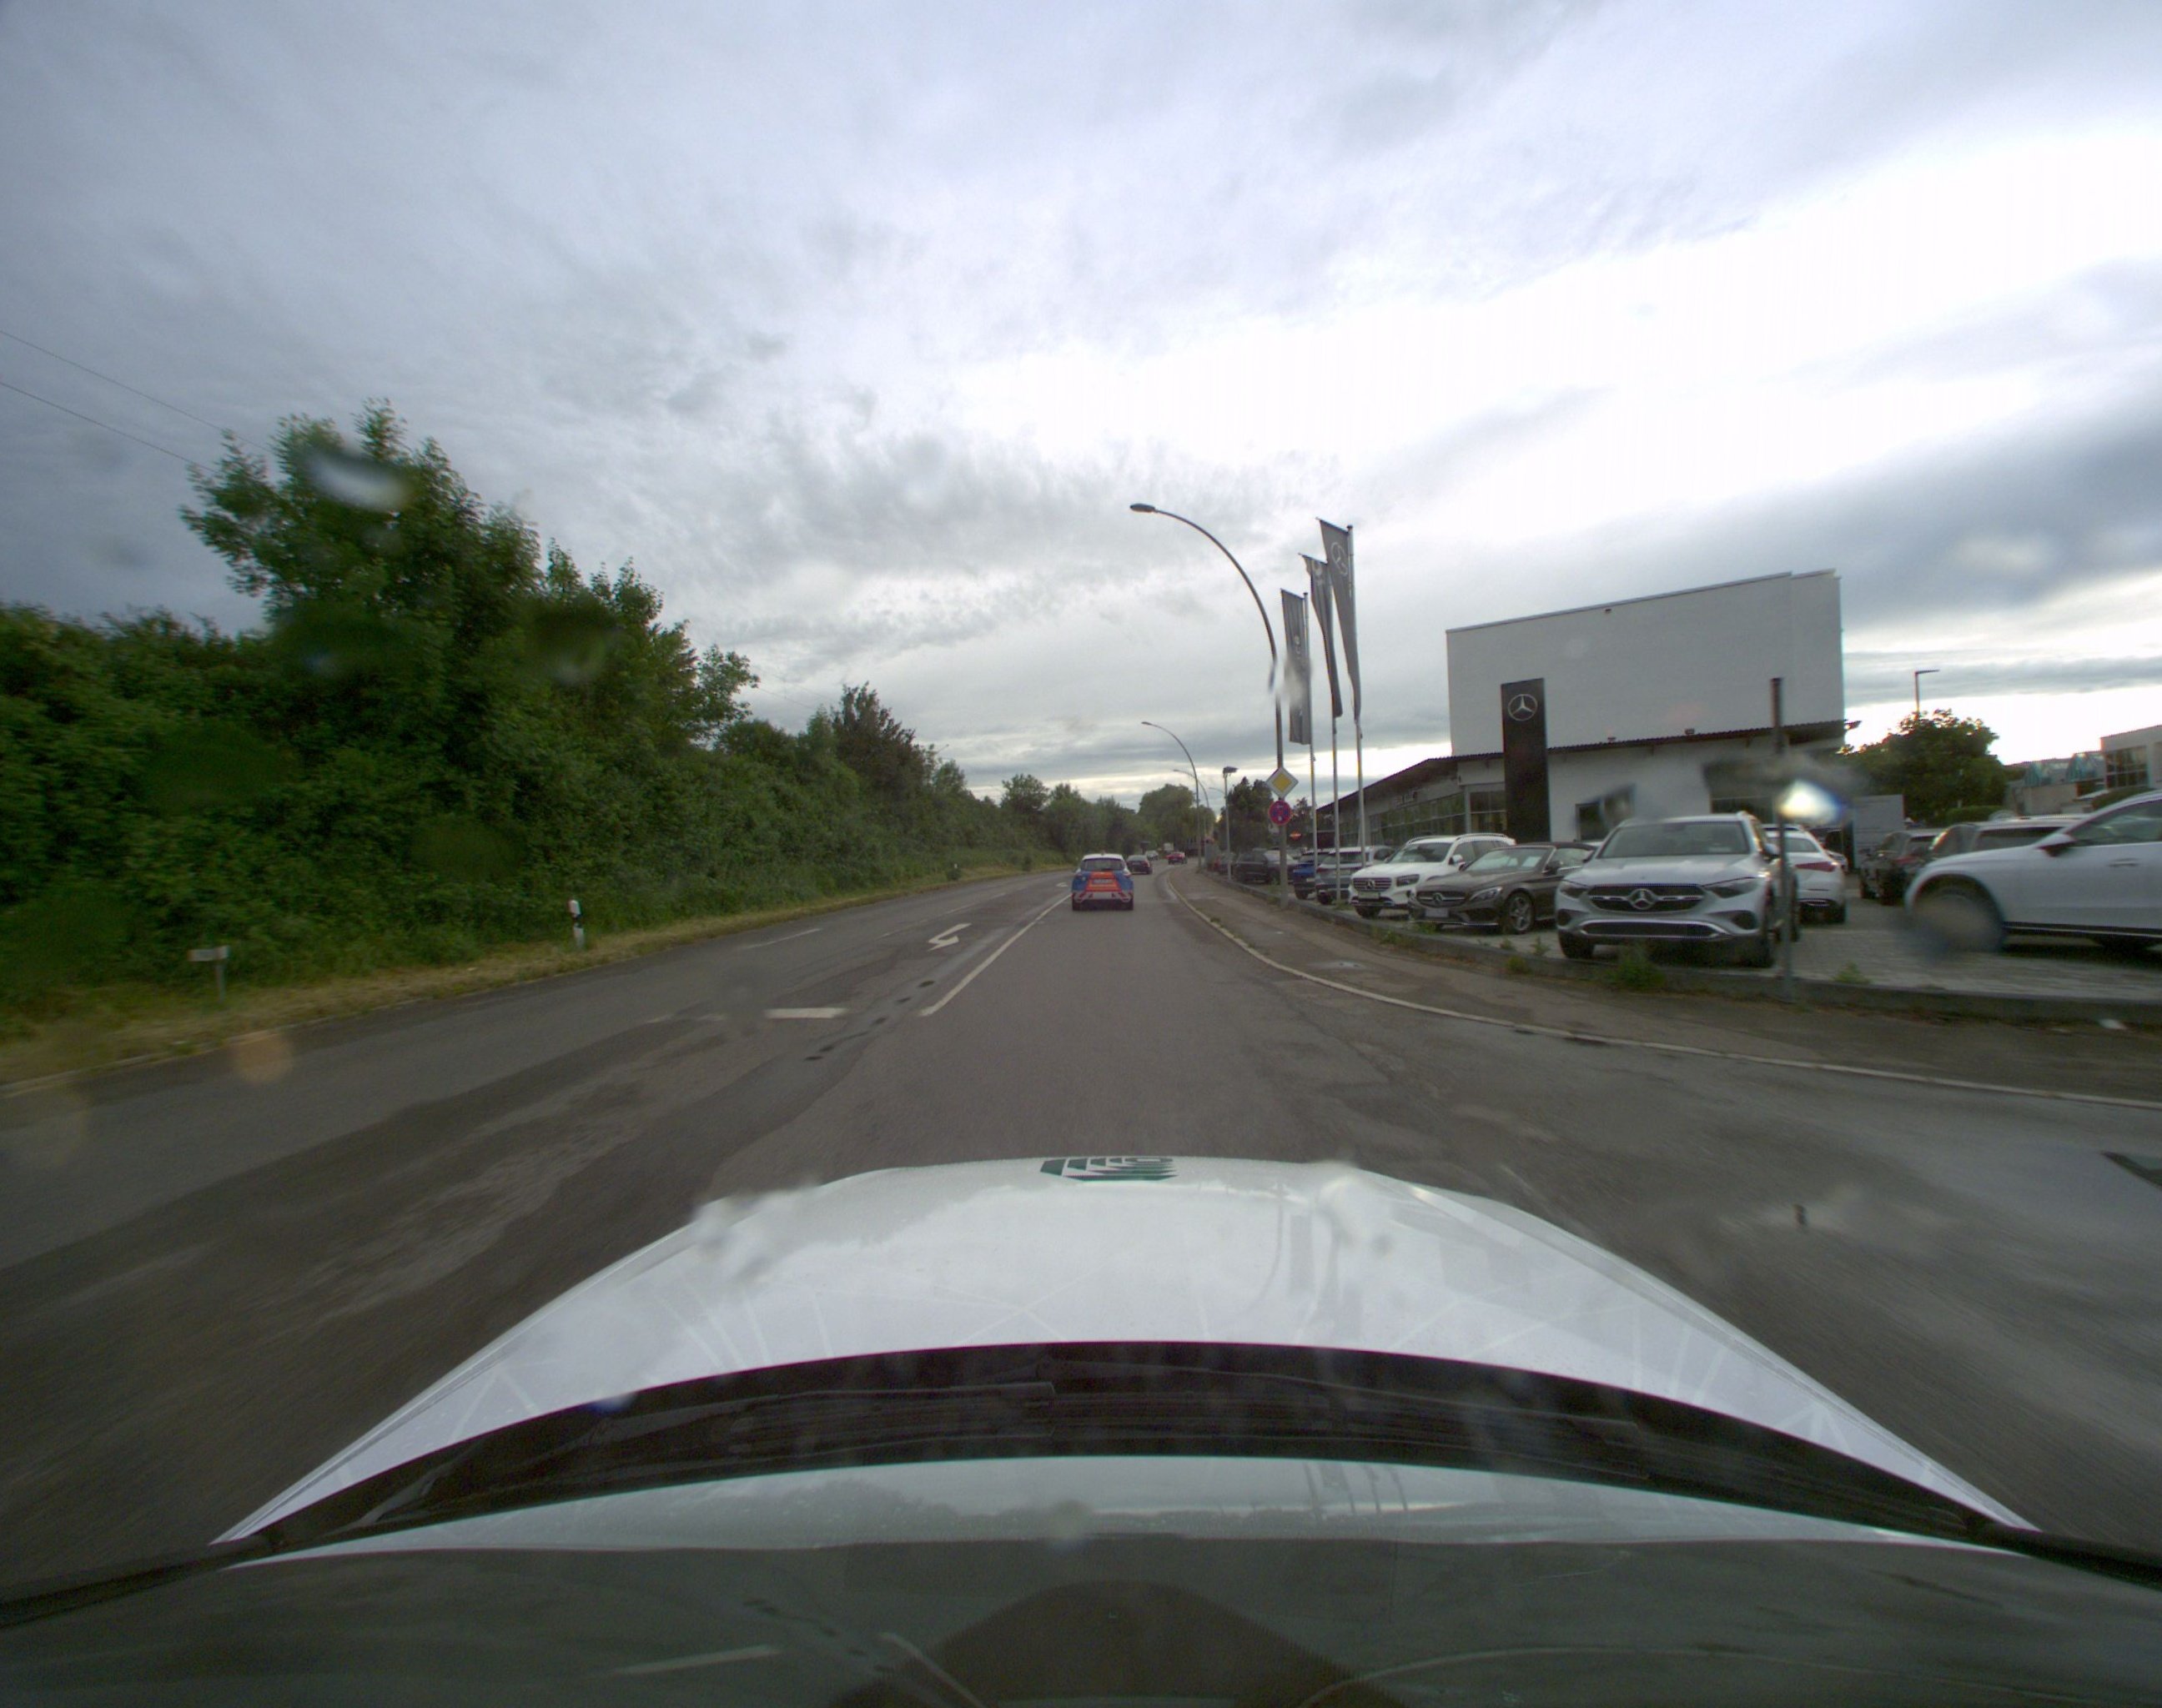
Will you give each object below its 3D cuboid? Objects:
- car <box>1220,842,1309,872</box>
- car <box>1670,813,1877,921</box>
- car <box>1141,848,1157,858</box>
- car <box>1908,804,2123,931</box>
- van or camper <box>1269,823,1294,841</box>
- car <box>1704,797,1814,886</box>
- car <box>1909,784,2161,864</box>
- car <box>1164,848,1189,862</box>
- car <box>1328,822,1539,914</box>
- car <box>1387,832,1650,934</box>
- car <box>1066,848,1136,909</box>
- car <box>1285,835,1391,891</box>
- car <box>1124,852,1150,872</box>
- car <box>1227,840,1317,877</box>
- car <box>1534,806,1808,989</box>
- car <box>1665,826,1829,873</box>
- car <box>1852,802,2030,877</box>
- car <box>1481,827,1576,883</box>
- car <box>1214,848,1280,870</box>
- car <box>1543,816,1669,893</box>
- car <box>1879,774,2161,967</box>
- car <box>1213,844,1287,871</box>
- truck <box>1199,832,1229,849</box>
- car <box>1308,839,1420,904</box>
[{"bbox_3d":[10.229,0.180,45.543,4.385,1.479,1.947,-2,0,38],"label":"car"},{"bbox_3d":[11.404,0.178,13.775,1.941,1.499,4.393,-2,0,31],"label":"car"},{"bbox_3d":[10.332,-0.067,123.679,1.980,1.474,4.715,0,0,11],"label":"car"},{"bbox_3d":[13.260,0.088,11.585,4.146,1.460,1.751,-4,1,-40],"label":"car"},{"bbox_3d":[30.855,-3.331,125.325,2.022,2.593,6.630,-3,0,28],"label":"van or camper"},{"bbox_3d":[14.735,-0.199,17.813,1.657,1.720,4.025,-1,-2,39],"label":"car"},{"bbox_3d":[20.804,-0.625,17.761,1.774,1.551,3.424,-3,1,-23],"label":"car"},{"bbox_3d":[11.195,0.087,95.081,1.977,1.420,4.021,-3,0,20],"label":"car"},{"bbox_3d":[7.585,0.238,17.405,4.443,1.652,1.907,-3,0,-32],"label":"car"},{"bbox_3d":[7.404,0.414,13.741,4.151,1.394,1.835,-3,0,-27],"label":"car"},{"bbox_3d":[0.561,0.682,23.884,1.882,1.632,4.000,0,0,1],"label":"car"},{"bbox_3d":[8.806,0.269,27.705,1.820,1.632,4.394,-5,-1,40],"label":"car"},{"bbox_3d":[4.054,0.572,58.371,1.712,1.376,3.940,0,0,6],"label":"car"},{"bbox_3d":[9.158,0.228,39.488,1.845,1.608,4.513,-4,1,-24],"label":"car"},{"bbox_3d":[7.142,0.378,9.658,1.942,1.671,4.391,-2,0,45],"label":"car"},{"bbox_3d":[23.867,-0.161,29.437,4.353,1.442,2.013,-3,1,34],"label":"car"},{"bbox_3d":[17.026,-0.208,16.289,1.451,1.279,2.991,-2,-3,26],"label":"car"},{"bbox_3d":[13.877,-0.003,25.161,1.879,1.545,4.026,-2,1,38],"label":"car"},{"bbox_3d":[12.970,0.416,63.736,4.637,1.662,2.013,0,-1,36],"label":"car"},{"bbox_3d":[12.172,0.053,18.772,1.660,1.454,3.947,-9,-7,42],"label":"car"},{"bbox_3d":[10.286,0.117,7.324,1.800,1.673,4.714,-2,0,4],"label":"car"},{"bbox_3d":[10.187,0.211,49.125,3.949,1.556,1.910,0,-1,43],"label":"car"},{"bbox_3d":[27.970,-2.760,170.910,2.671,3.411,9.129,0,-1,32],"label":"truck"},{"bbox_3d":[8.234,0.472,23.516,1.709,1.599,3.839,-4,0,41],"label":"car"}]
